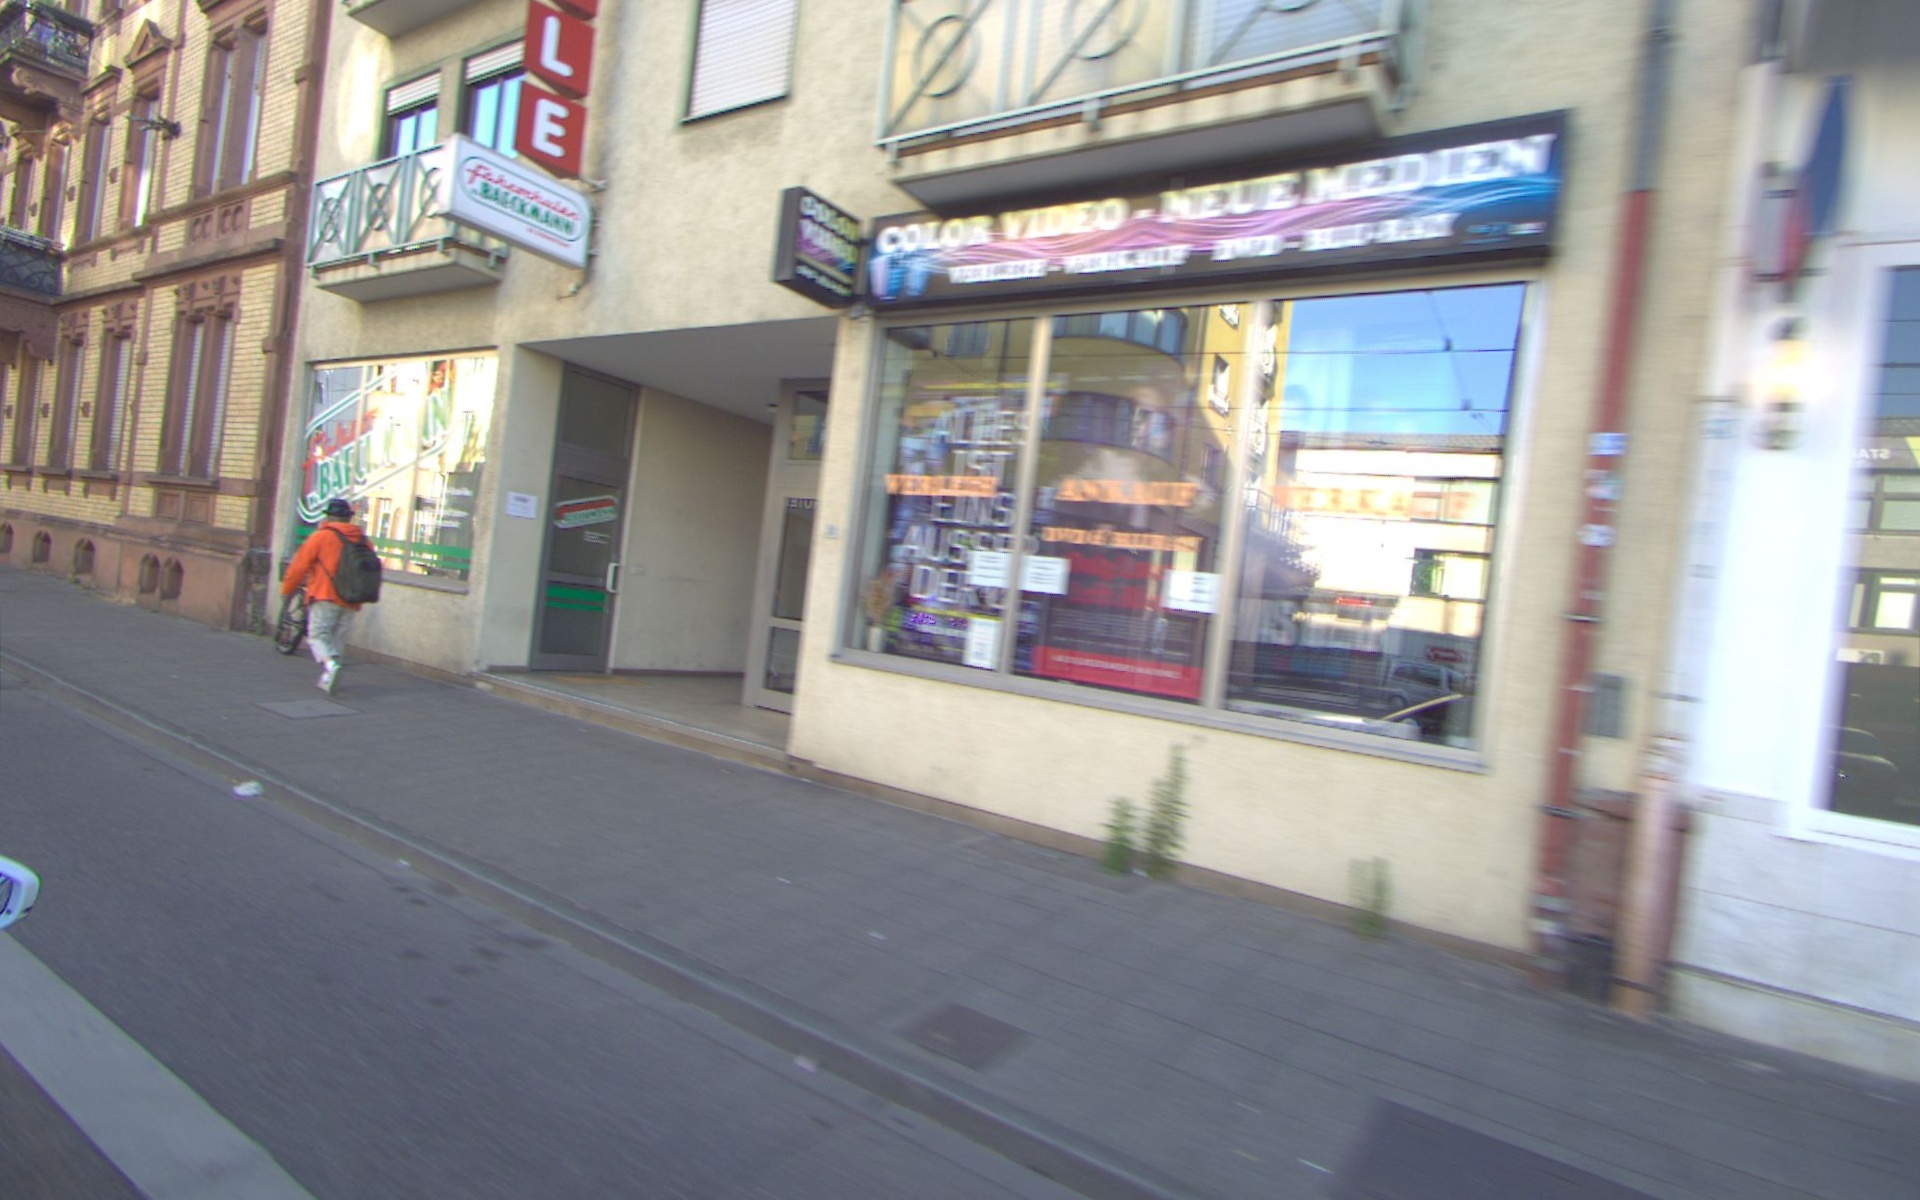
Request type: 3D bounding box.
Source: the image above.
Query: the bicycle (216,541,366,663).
[{"bbox_3d":[-7.348,-0.009,10.999,2.274,1.075,0.554,7,3,35],"label":"bicycle"}]

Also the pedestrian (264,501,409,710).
[{"bbox_3d":[-5.353,0.017,8.647,0.812,1.652,0.796,8,7,34],"label":"pedestrian"}]
